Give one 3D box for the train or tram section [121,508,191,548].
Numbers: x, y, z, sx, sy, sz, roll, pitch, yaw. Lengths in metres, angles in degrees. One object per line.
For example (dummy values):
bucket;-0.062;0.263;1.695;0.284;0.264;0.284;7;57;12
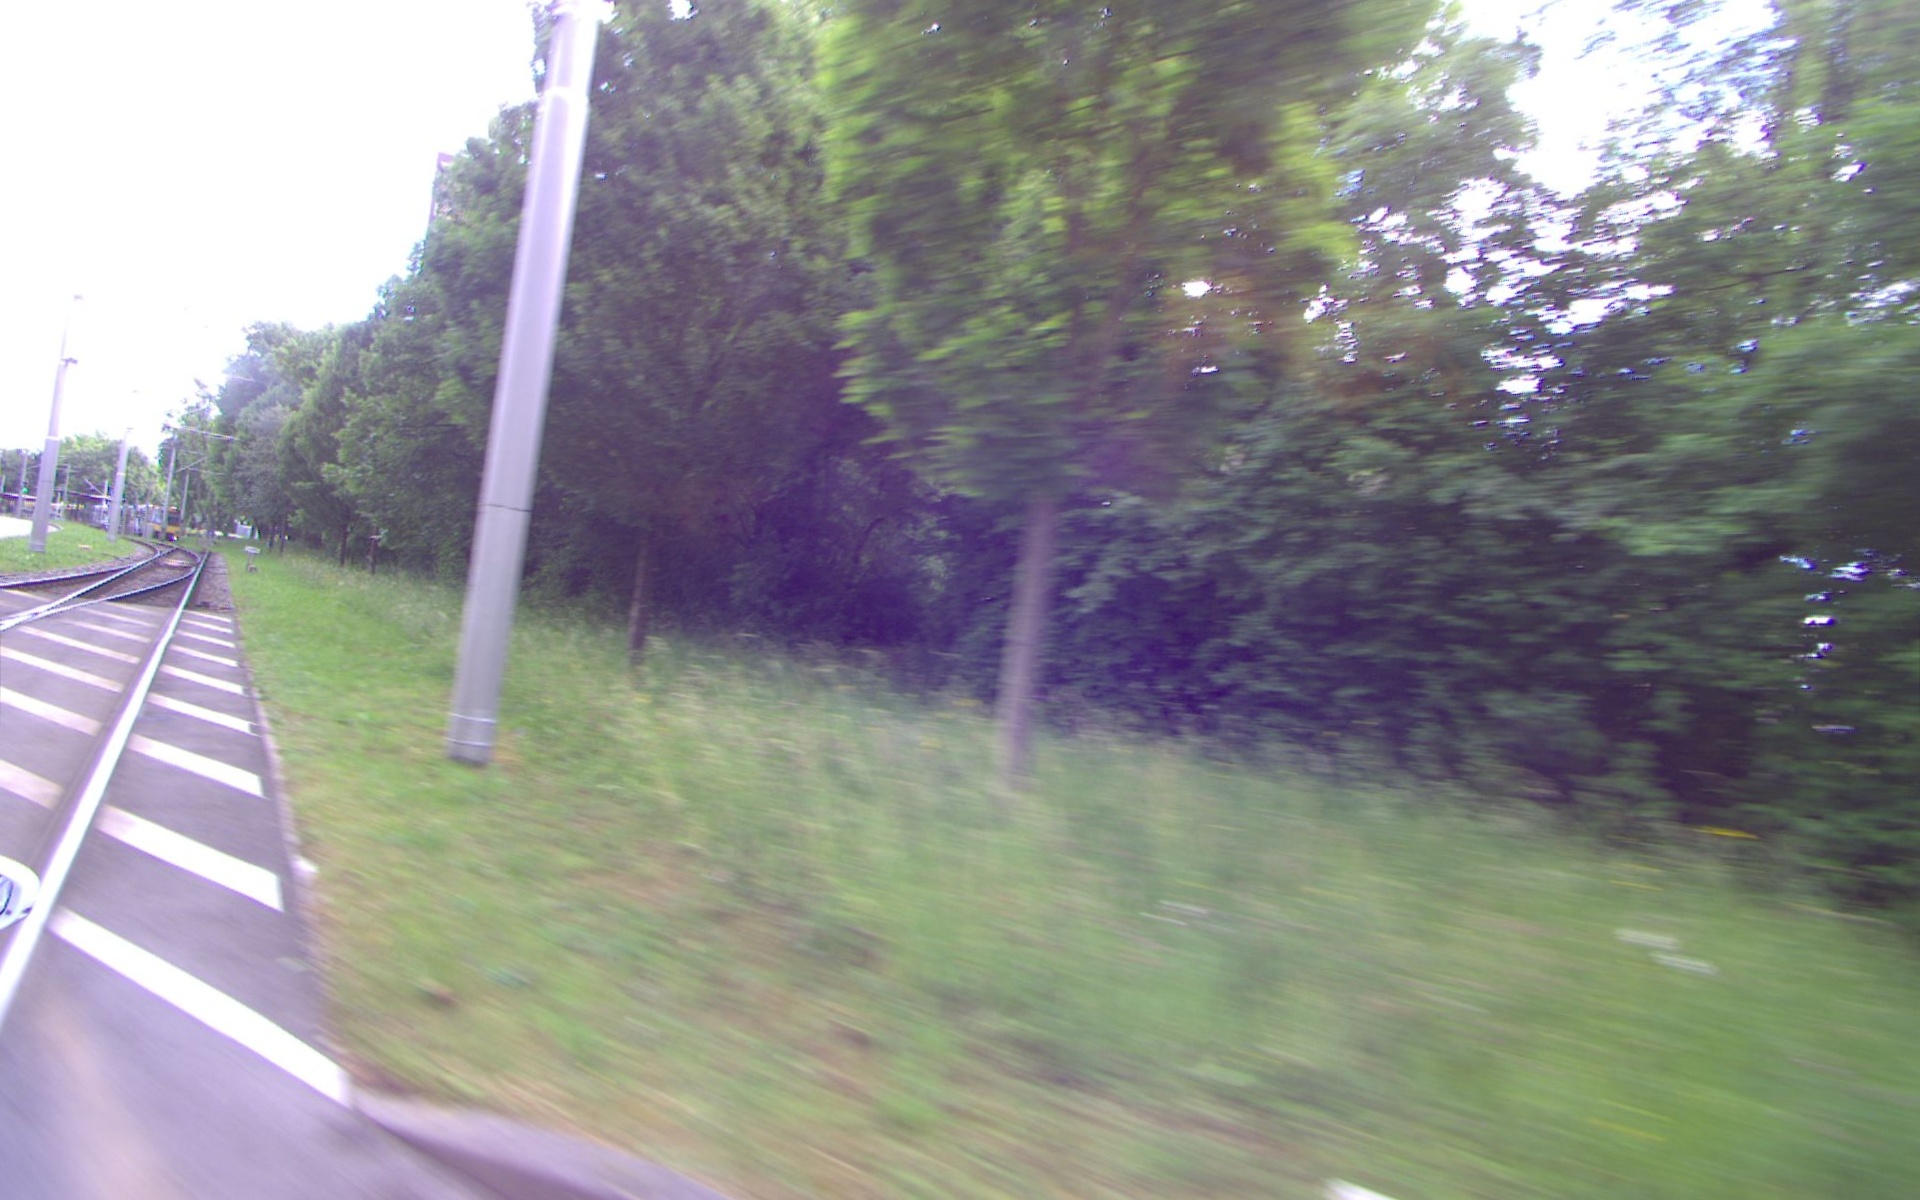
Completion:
train or tram section;-90.294;-8.277;112.516;3.002;3.347;34.282;10;-3;-43
